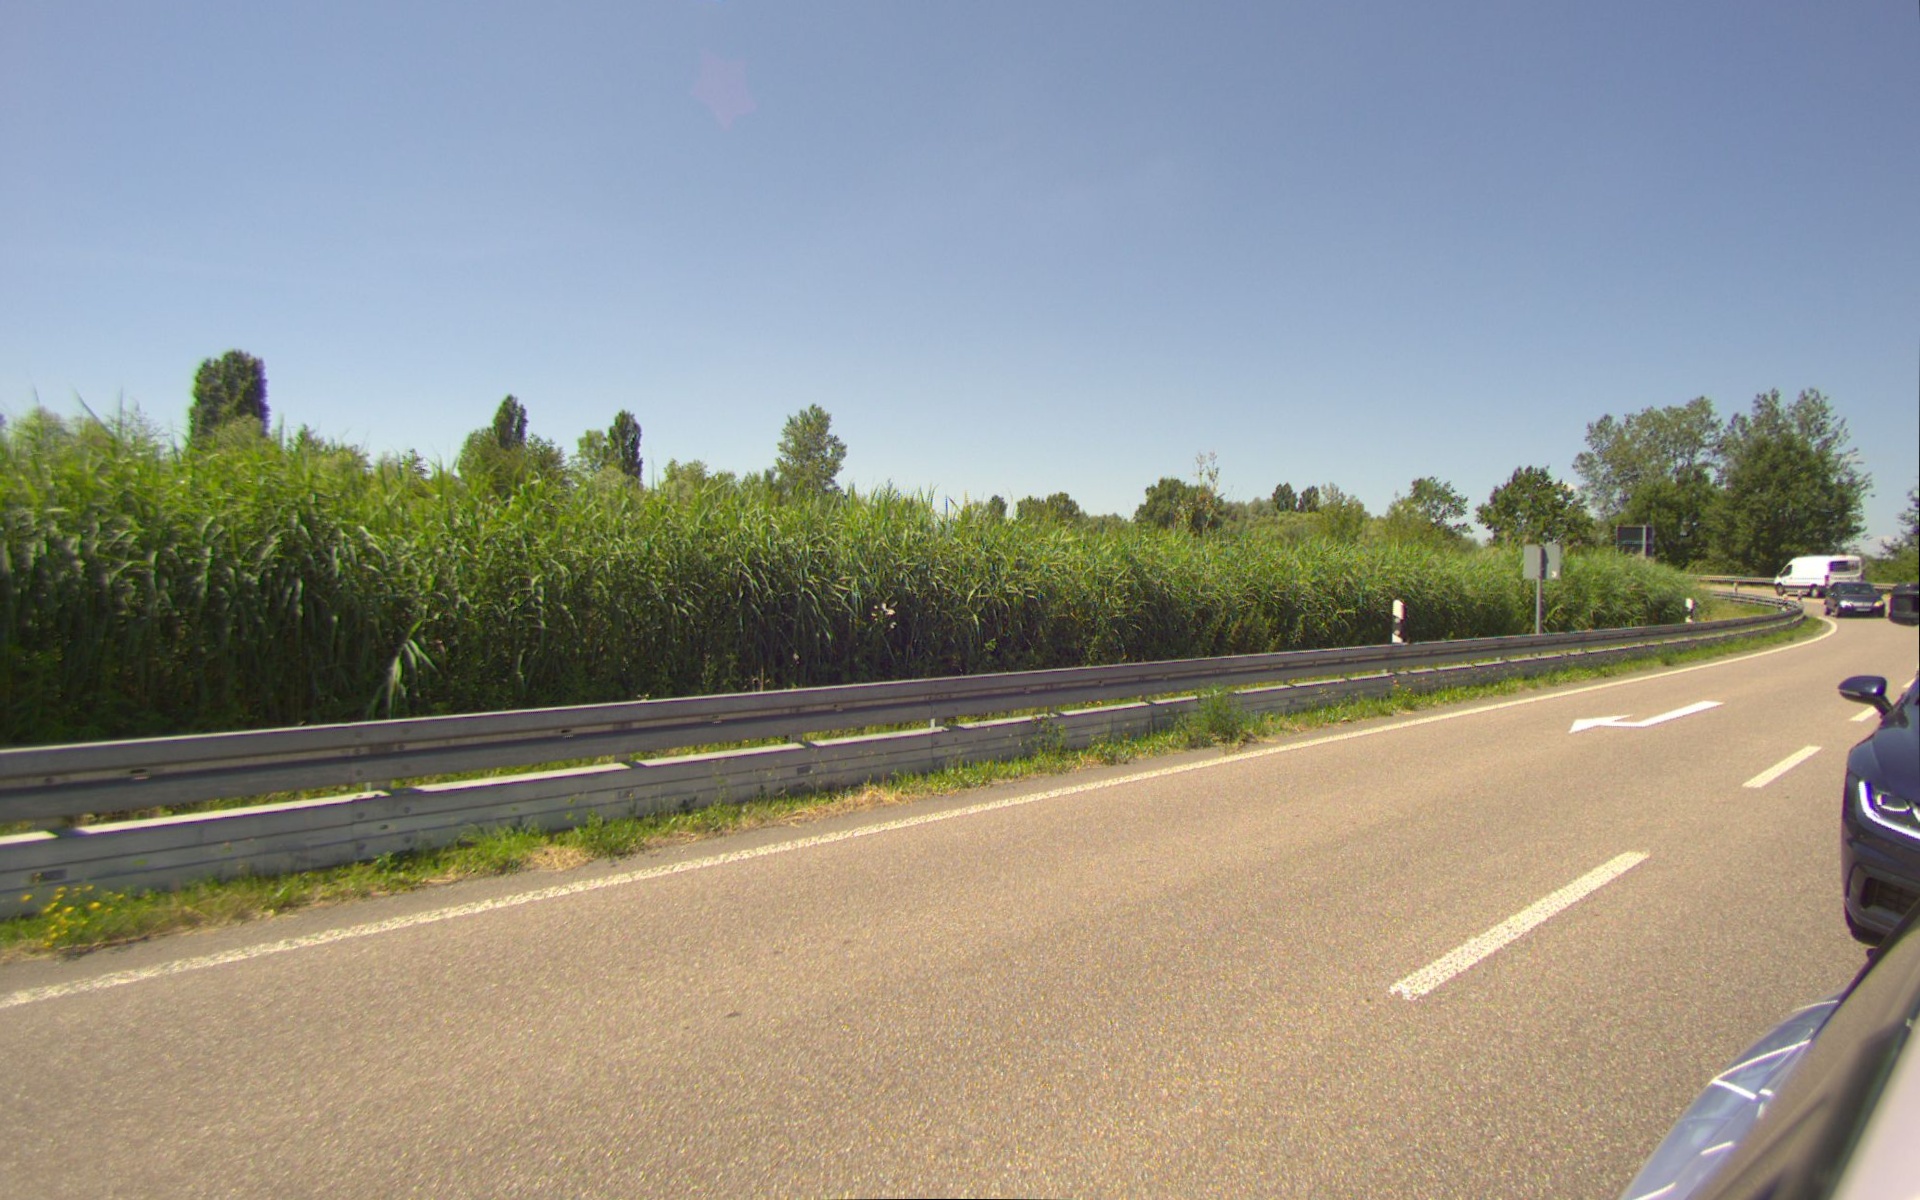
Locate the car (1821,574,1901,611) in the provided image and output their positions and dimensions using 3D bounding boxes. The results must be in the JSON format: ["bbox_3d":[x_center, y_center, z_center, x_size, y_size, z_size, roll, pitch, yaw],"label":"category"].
[{"bbox_3d":[41.052,-0.364,46.213,1.655,1.620,3.526,0,1,23],"label":"car"}]

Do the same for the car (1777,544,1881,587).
[{"bbox_3d":[52.591,-2.074,61.408,1.966,2.446,5.579,-1,1,7],"label":"car"}]

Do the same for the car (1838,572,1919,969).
[{"bbox_3d":[5.648,0.622,4.676,4.338,1.481,1.818,-1,1,-41],"label":"car"}]
